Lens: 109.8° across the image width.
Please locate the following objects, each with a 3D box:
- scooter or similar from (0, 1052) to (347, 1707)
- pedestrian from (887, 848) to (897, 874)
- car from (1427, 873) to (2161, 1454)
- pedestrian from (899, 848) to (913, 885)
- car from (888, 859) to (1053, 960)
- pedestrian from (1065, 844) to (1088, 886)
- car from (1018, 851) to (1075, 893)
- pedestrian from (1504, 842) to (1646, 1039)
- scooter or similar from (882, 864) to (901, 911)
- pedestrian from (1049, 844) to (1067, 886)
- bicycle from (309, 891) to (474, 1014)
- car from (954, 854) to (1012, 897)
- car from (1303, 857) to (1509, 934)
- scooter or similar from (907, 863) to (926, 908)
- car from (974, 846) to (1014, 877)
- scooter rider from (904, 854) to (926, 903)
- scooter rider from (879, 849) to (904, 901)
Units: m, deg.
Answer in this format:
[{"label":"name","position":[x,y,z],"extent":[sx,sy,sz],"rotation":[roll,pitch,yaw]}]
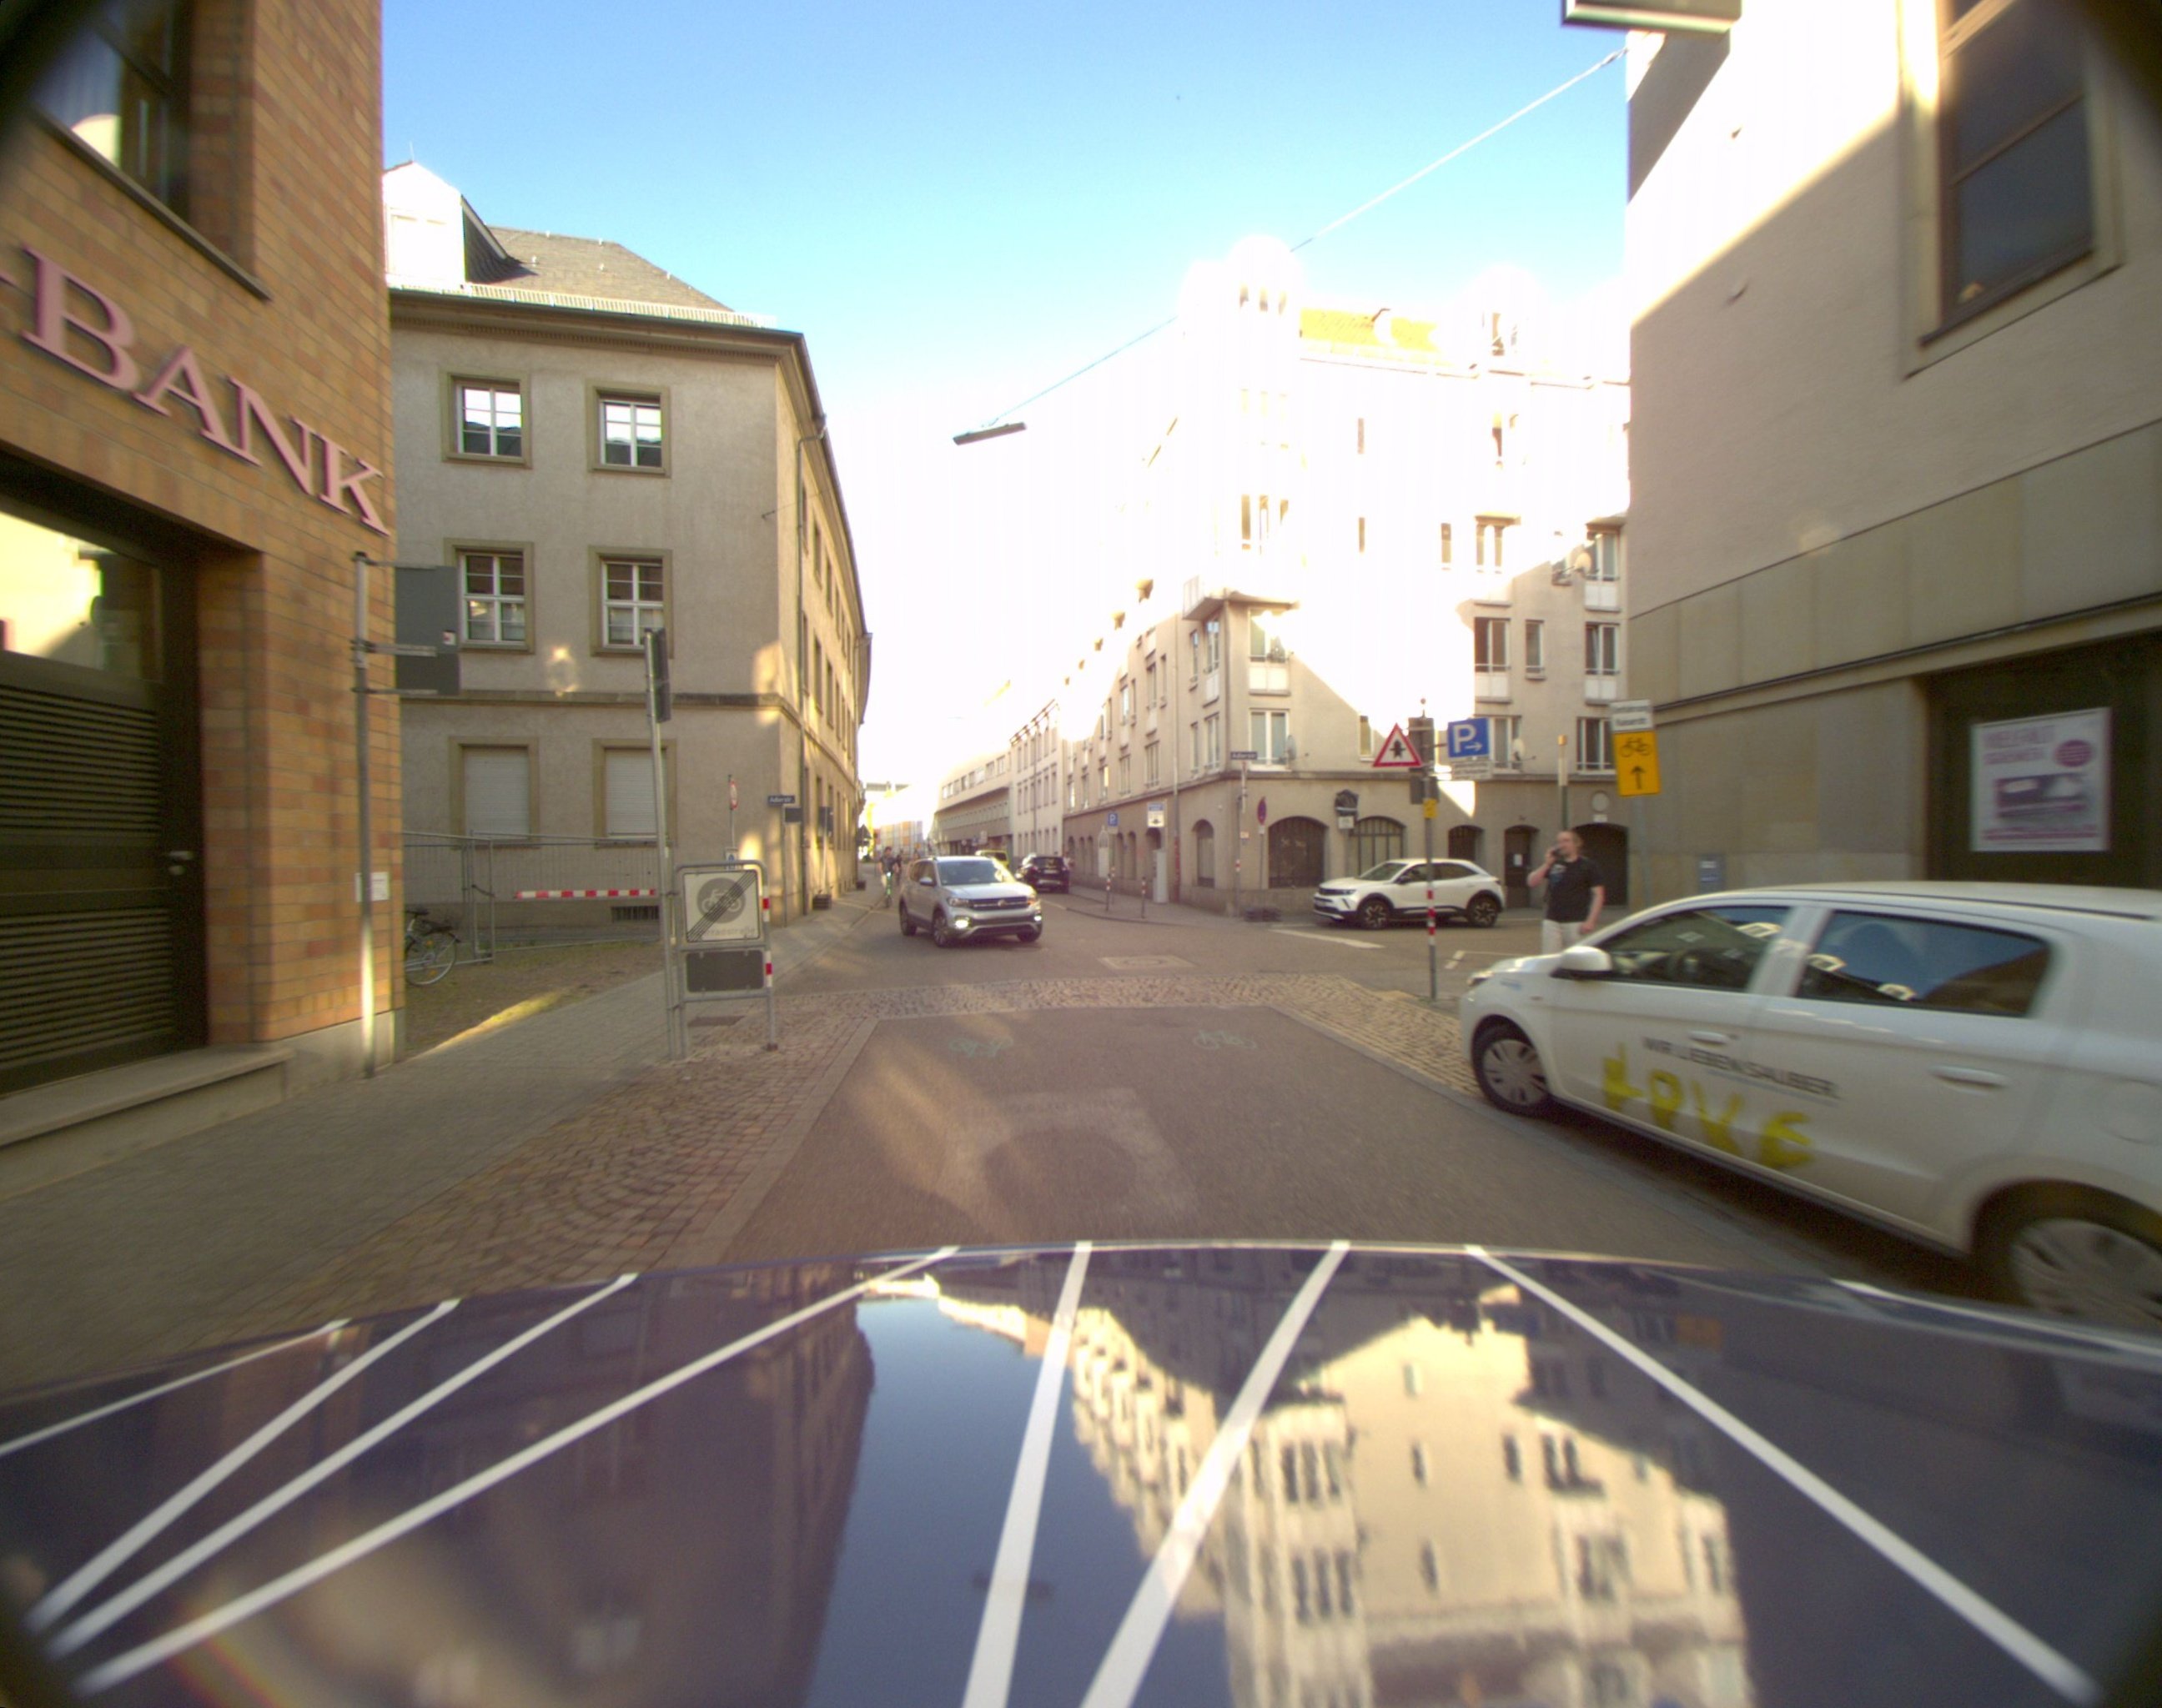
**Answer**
[{"label":"scooter or similar","position":[-2.394,1.165,1.377],"extent":[0.537,1.228,1.421],"rotation":[-2,0,35]},{"label":"pedestrian","position":[-14.570,0.531,58.632],"extent":[0.716,2.002,0.698],"rotation":[-1,1,-14]},{"label":"car","position":[3.575,0.890,3.522],"extent":[1.743,1.483,3.796],"rotation":[1,0,-9]},{"label":"pedestrian","position":[-9.615,0.660,41.747],"extent":[0.716,2.002,0.698],"rotation":[-1,1,-14]},{"label":"car","position":[-2.202,0.889,14.164],"extent":[1.766,1.537,3.991],"rotation":[-1,1,-28]},{"label":"pedestrian","position":[-0.231,0.500,36.706],"extent":[0.938,2.002,0.698],"rotation":[-1,1,-14]},{"label":"car","position":[-1.588,0.750,33.359],"extent":[1.890,1.694,3.996],"rotation":[1,0,-11]},{"label":"pedestrian","position":[4.840,0.807,7.490],"extent":[0.861,1.844,0.715],"rotation":[1,2,-6]},{"label":"scooter or similar","position":[-5.865,1.007,23.527],"extent":[0.524,1.388,1.553],"rotation":[-1,1,-13]},{"label":"pedestrian","position":[-1.126,0.536,36.690],"extent":[0.716,2.002,0.698],"rotation":[-1,1,-14]},{"label":"bicycle","position":[-8.105,1.109,9.021],"extent":[0.320,1.243,1.583],"rotation":[-1,1,8]},{"label":"car","position":[-4.016,0.853,30.646],"extent":[1.858,1.583,3.802],"rotation":[0,-1,-14]},{"label":"car","position":[7.331,0.899,17.355],"extent":[3.968,1.584,1.742],"rotation":[0,1,-6]},{"label":"scooter or similar","position":[-5.265,0.982,24.275],"extent":[0.550,1.388,1.553],"rotation":[-1,1,-13]},{"label":"car","position":[-5.687,0.468,49.355],"extent":[1.890,1.863,3.994],"rotation":[-3,1,-16]},{"label":"scooter rider","position":[-5.250,0.753,24.068],"extent":[0.592,1.500,0.599],"rotation":[-3,2,-13]},{"label":"scooter rider","position":[-5.951,0.639,23.881],"extent":[0.648,1.585,0.599],"rotation":[-3,2,-13]}]
